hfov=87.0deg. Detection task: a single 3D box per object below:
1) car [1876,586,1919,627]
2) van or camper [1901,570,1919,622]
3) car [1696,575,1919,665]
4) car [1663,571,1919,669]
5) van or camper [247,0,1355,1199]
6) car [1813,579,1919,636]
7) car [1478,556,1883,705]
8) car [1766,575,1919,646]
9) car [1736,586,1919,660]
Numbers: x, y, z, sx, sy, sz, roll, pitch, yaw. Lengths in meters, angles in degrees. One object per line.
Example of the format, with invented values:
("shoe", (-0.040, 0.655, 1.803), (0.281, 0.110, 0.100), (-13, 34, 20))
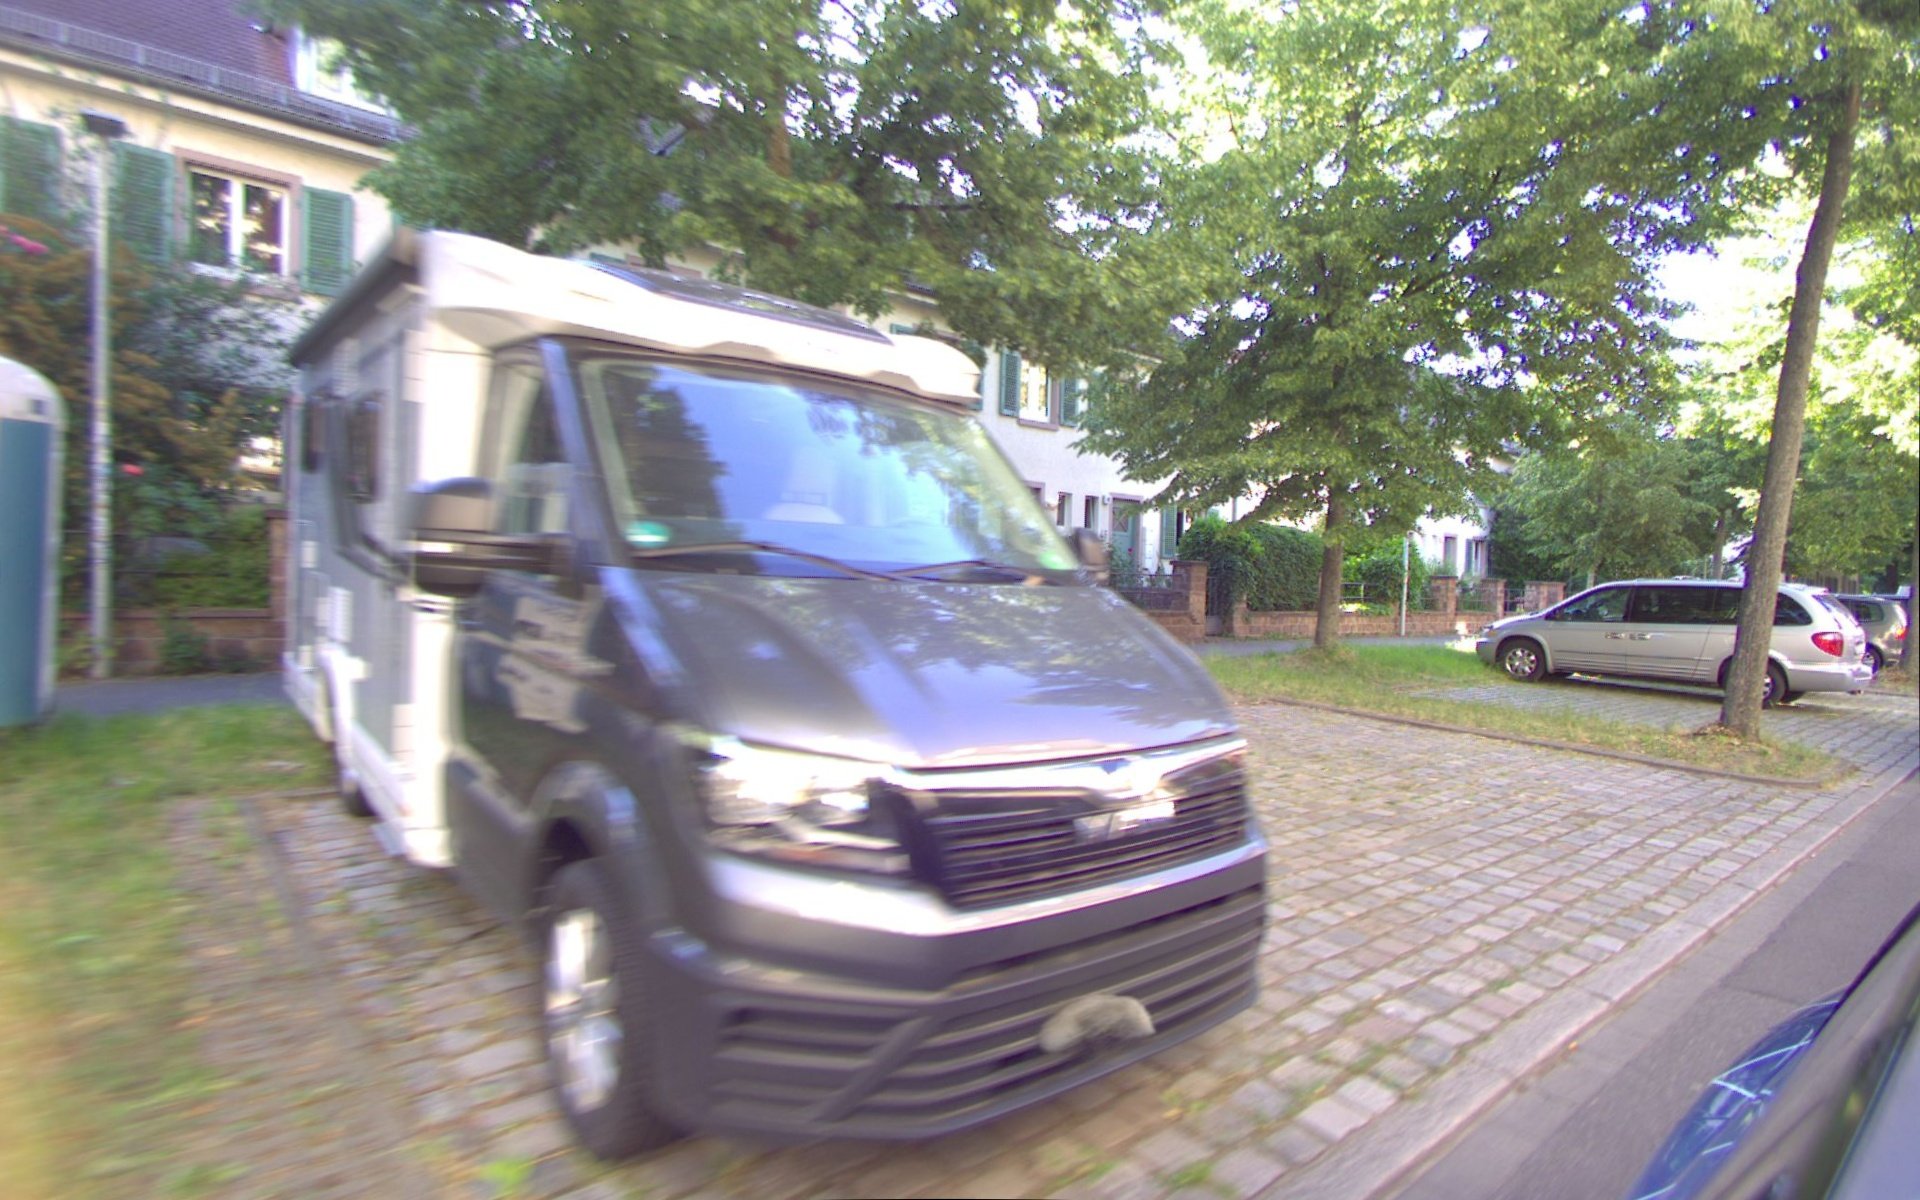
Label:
("car", (40.481, 0.419, 40.935), (1.862, 1.557, 4.848), (0, 5, -42))
("van or camper", (50.516, 0.041, 49.837), (2.124, 2.546, 5.734), (0, 5, -40))
("car", (20.521, 0.409, 24.240), (1.659, 1.653, 4.288), (1, 5, -37))
("car", (18.310, 0.363, 22.117), (4.543, 1.653, 1.783), (7, 5, 44))
("van or camper", (-1.992, -0.210, 5.268), (2.419, 2.678, 7.171), (1, 5, -38))
("car", (31.517, 0.297, 33.666), (1.842, 1.653, 4.487), (0, 5, -41))
("car", (10.690, 0.321, 15.382), (1.800, 1.730, 4.633), (1, 4, -39))
("car", (26.188, 0.312, 28.875), (1.872, 1.697, 4.597), (1, 5, -38))
("car", (22.238, 0.537, 25.661), (1.561, 1.470, 3.732), (0, 5, -40))
